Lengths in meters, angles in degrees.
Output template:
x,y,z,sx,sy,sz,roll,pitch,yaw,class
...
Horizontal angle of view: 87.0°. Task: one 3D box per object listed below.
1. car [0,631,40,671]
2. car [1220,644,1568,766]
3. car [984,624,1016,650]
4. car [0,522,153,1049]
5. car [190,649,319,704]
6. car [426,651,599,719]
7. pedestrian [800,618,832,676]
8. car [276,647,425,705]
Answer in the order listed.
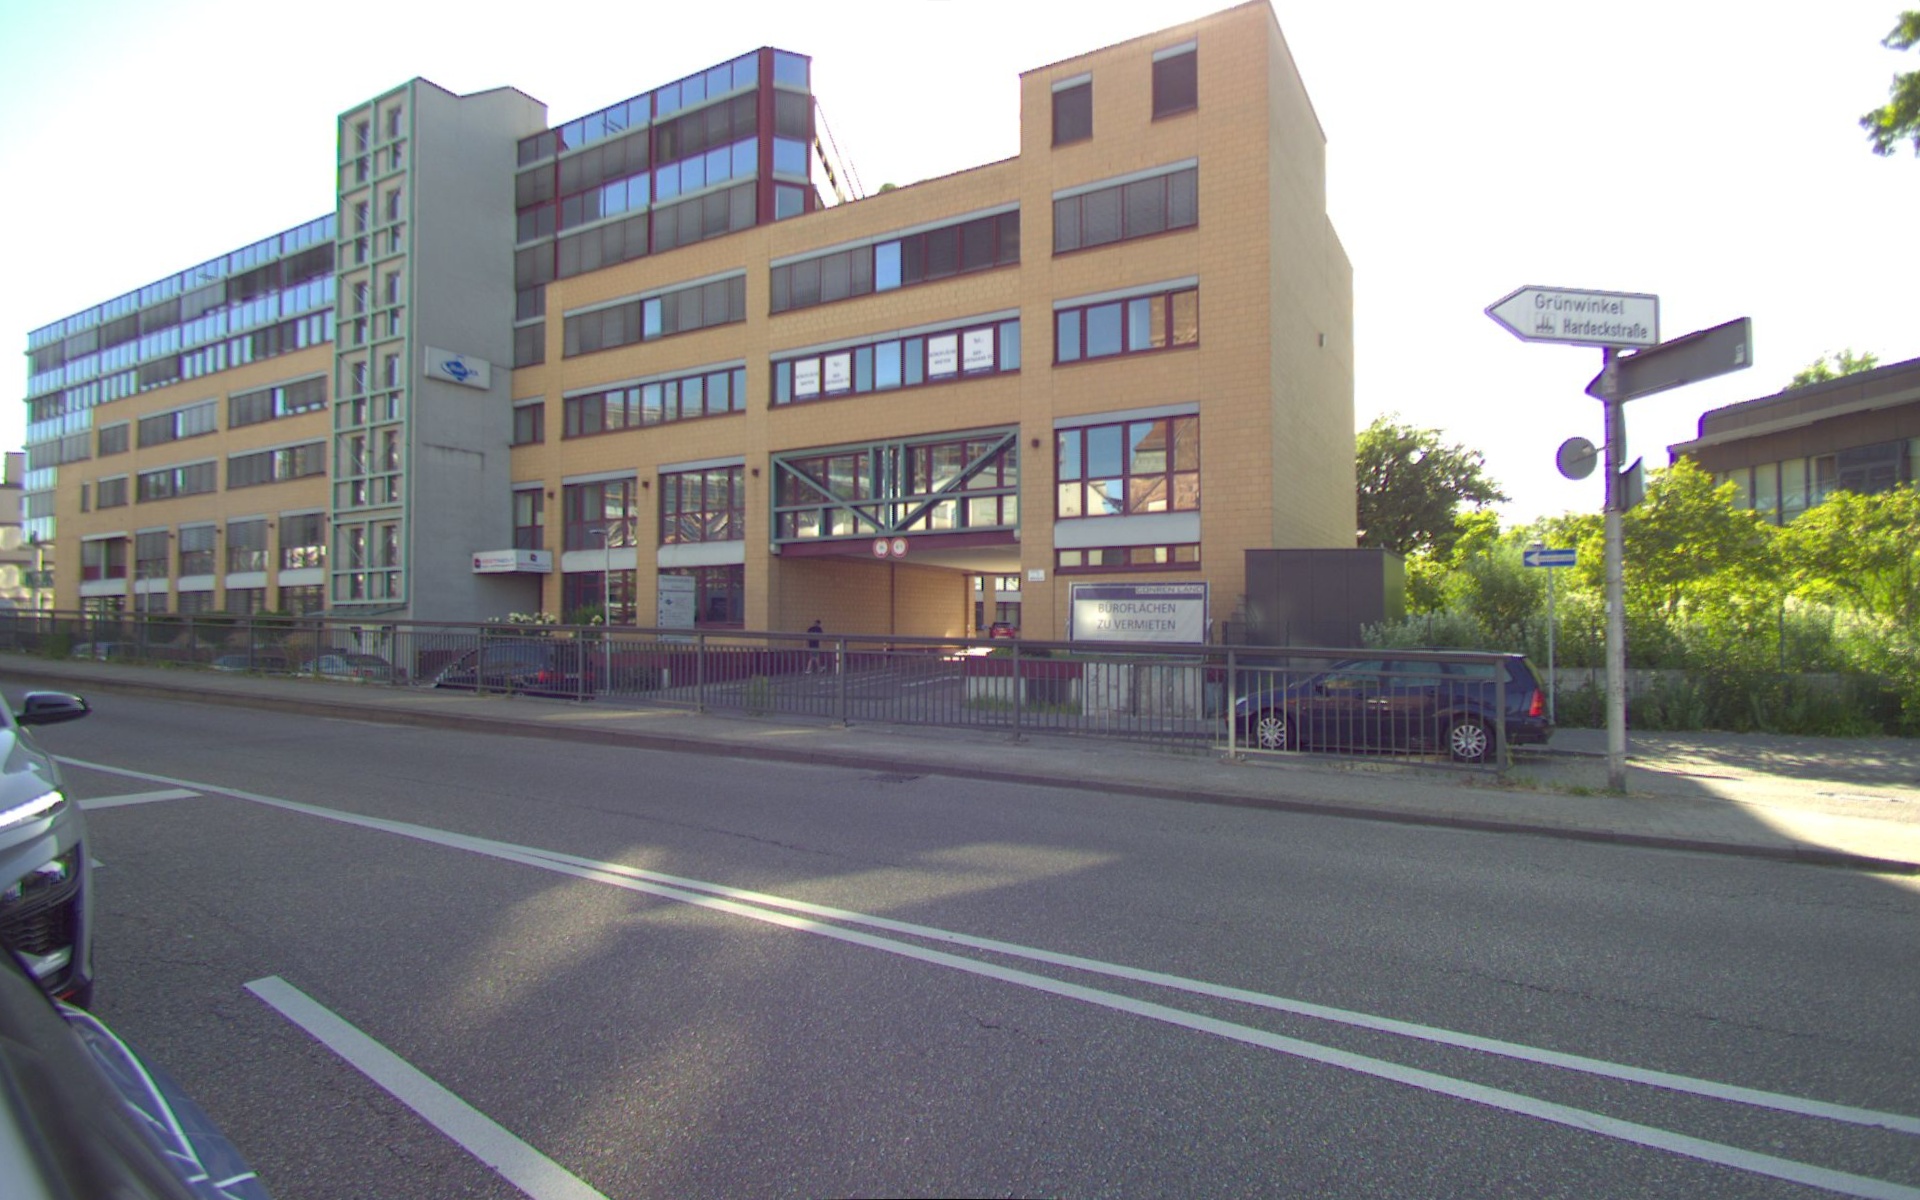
x,y,z,sx,sy,sz,roll,pitch,yaw,class
-40.044,2.106,41.896,3.988,1.519,1.978,-1,0,33,car
6.176,1.473,14.629,4.367,1.520,1.640,-3,-5,34,car
2.625,2.454,67.275,1.742,1.532,4.003,-1,0,-3,car
-4.910,0.617,4.150,4.196,1.634,1.854,-2,-3,42,car
-22.037,2.345,31.599,3.986,1.576,1.865,-2,-3,32,car
-10.992,2.034,24.829,4.139,1.535,1.624,-2,-3,27,car
-4.726,1.527,33.260,0.703,1.865,0.738,-2,-1,35,pedestrian
-17.471,2.130,28.986,4.143,1.535,1.862,-2,-3,29,car
